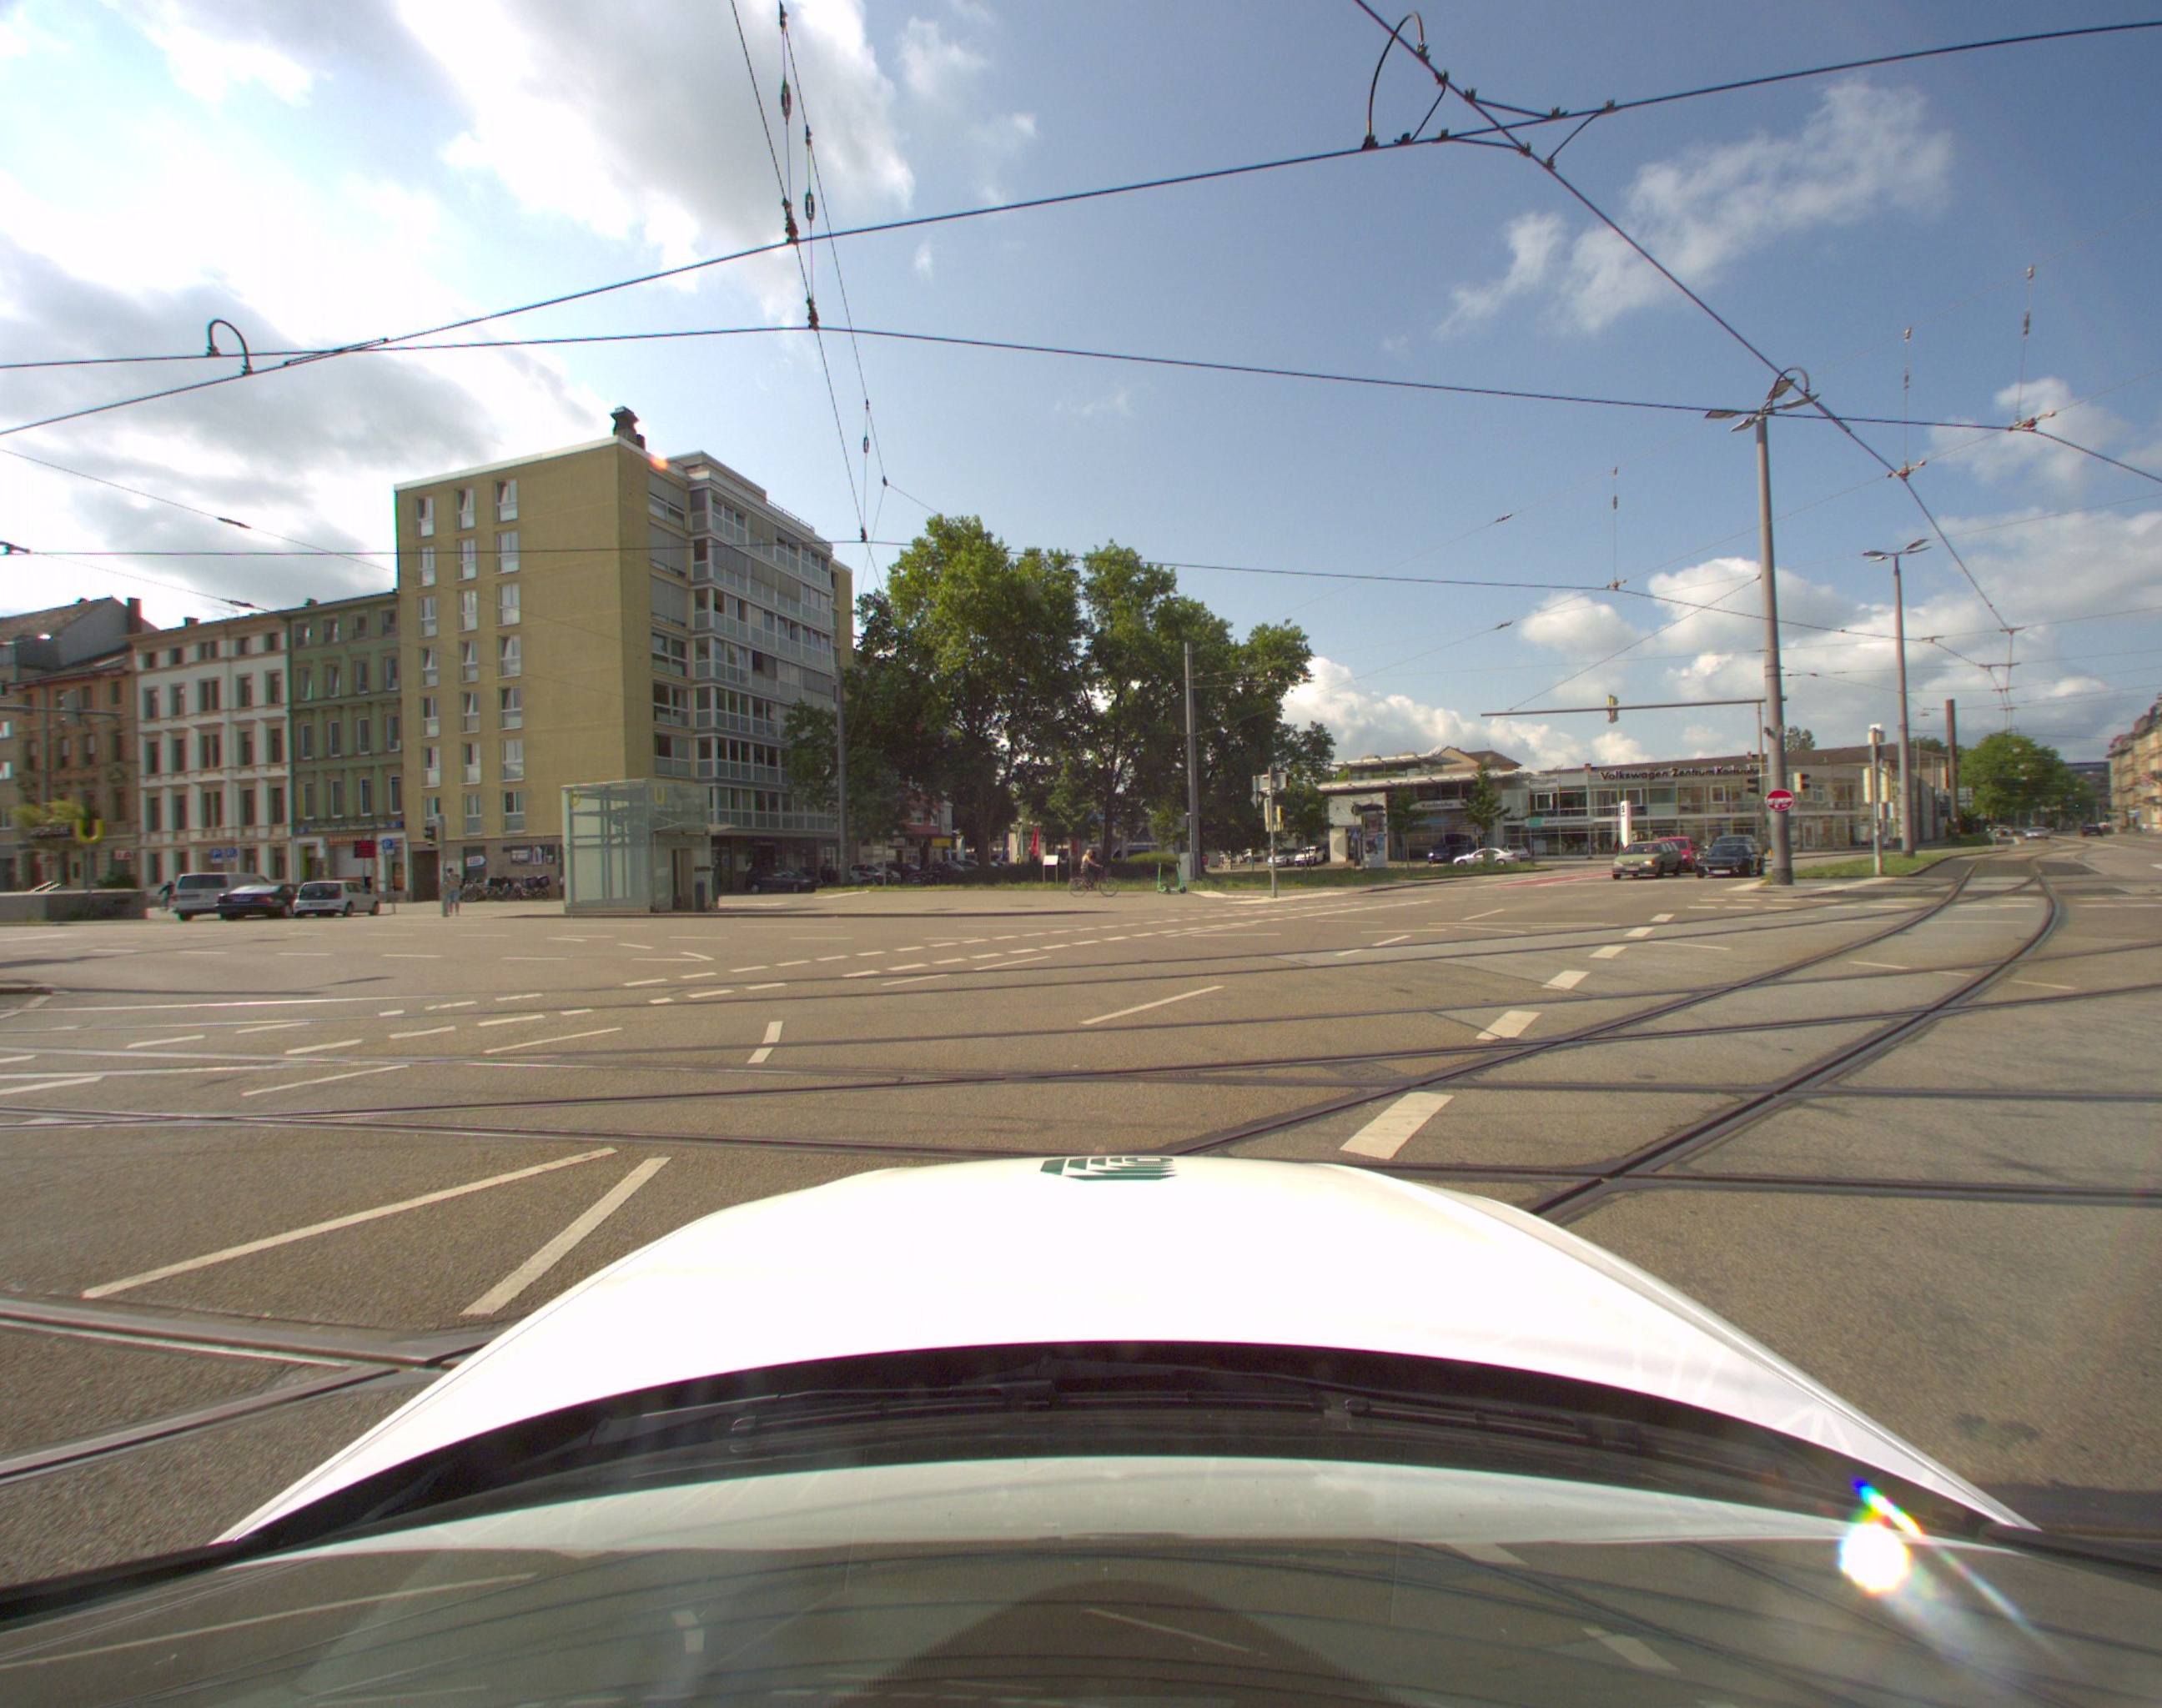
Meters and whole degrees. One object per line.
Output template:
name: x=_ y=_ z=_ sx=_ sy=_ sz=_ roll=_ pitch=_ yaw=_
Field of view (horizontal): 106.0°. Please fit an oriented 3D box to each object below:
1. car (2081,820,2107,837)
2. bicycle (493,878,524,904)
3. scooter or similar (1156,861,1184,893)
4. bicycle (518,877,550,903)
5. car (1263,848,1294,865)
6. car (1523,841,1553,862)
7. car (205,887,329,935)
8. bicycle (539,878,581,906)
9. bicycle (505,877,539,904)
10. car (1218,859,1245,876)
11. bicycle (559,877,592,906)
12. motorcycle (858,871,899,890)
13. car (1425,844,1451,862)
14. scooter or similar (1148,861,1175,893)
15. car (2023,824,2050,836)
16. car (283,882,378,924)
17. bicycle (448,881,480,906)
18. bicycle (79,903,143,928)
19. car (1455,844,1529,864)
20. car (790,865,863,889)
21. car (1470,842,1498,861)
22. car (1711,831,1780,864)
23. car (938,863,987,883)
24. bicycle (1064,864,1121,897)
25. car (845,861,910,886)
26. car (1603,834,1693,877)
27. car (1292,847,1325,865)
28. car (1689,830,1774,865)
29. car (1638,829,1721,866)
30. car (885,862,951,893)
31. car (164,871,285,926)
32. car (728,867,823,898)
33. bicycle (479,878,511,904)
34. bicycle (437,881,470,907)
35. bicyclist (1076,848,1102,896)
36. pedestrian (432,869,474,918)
car: x=131.670 y=-3.316 z=105.865 sx=4.019 sy=2.013 sz=1.977 roll=-2 pitch=0 yaw=-37
bicycle: x=-29.117 y=1.855 z=41.424 sx=1.626 sy=1.201 sz=0.490 roll=2 pitch=2 yaw=22
scooter or similar: x=3.323 y=0.851 z=30.394 sx=0.930 sy=1.157 sz=0.379 roll=0 pitch=2 yaw=-22
bicycle: x=-27.438 y=1.794 z=40.856 sx=1.626 sy=1.201 sz=0.490 roll=2 pitch=2 yaw=22
car: x=19.034 y=0.238 z=78.277 sx=1.975 sy=1.574 sz=4.023 roll=-2 pitch=-1 yaw=26
car: x=37.432 y=-0.221 z=66.656 sx=1.901 sy=1.551 sz=4.025 roll=3 pitch=2 yaw=32
car: x=-33.310 y=2.271 z=33.549 sx=1.893 sy=1.468 sz=5.025 roll=0 pitch=2 yaw=-24
bicycle: x=-25.121 y=1.835 z=39.273 sx=1.872 sy=1.272 sz=0.489 roll=2 pitch=2 yaw=9
bicycle: x=-27.686 y=1.791 z=40.345 sx=1.626 sy=1.201 sz=0.552 roll=2 pitch=2 yaw=22
car: x=15.076 y=1.314 z=81.487 sx=1.666 sy=1.596 sz=4.023 roll=-2 pitch=-1 yaw=25
bicycle: x=-24.651 y=1.830 z=39.711 sx=1.626 sy=1.272 sz=0.490 roll=2 pitch=2 yaw=22
motorcycle: x=-10.254 y=1.344 z=41.258 sx=1.898 sy=0.902 sz=0.600 roll=-1 pitch=1 yaw=-26
car: x=30.660 y=-0.084 z=69.821 sx=1.902 sy=1.445 sz=4.023 roll=-2 pitch=0 yaw=25
scooter or similar: x=3.058 y=0.870 z=30.917 sx=0.926 sy=1.157 sz=0.380 roll=0 pitch=2 yaw=-10
car: x=111.974 y=-2.810 z=95.409 sx=4.020 sy=1.332 sz=1.977 roll=-2 pitch=0 yaw=-40
car: x=-30.378 y=1.942 z=33.102 sx=1.721 sy=1.440 sz=3.486 roll=1 pitch=0 yaw=-23
bicycle: x=-31.973 y=2.053 z=42.199 sx=1.627 sy=1.201 sz=0.490 roll=2 pitch=2 yaw=17
bicycle: x=-43.429 y=2.733 z=36.490 sx=0.508 sy=1.004 sz=1.783 roll=2 pitch=-1 yaw=11
car: x=30.334 y=0.018 z=60.167 sx=4.490 sy=1.354 sz=2.013 roll=-3 pitch=-2 yaw=38
car: x=-15.442 y=1.390 z=49.449 sx=3.956 sy=1.327 sz=1.593 roll=-2 pitch=-1 yaw=17
car: x=33.610 y=-0.241 z=67.901 sx=1.901 sy=1.444 sz=4.025 roll=-1 pitch=1 yaw=29
car: x=33.688 y=-0.337 z=41.252 sx=4.021 sy=1.552 sz=1.976 roll=-2 pitch=0 yaw=-41
car: x=-9.904 y=1.593 z=68.050 sx=3.577 sy=1.594 sz=1.674 roll=-2 pitch=-1 yaw=21
bicycle: x=0.418 y=0.964 z=29.780 sx=1.975 sy=1.127 sz=0.791 roll=-2 pitch=-1 yaw=6
car: x=-13.336 y=1.267 z=53.488 sx=3.535 sy=1.530 sz=2.009 roll=-2 pitch=-1 yaw=17
car: x=21.803 y=0.056 z=31.262 sx=4.020 sy=1.513 sz=1.805 roll=-1 pitch=-2 yaw=-40
car: x=21.464 y=0.167 z=76.739 sx=2.047 sy=1.604 sz=4.025 roll=-2 pitch=0 yaw=30
car: x=23.503 y=-0.229 z=29.380 sx=4.020 sy=1.161 sz=1.607 roll=-1 pitch=-2 yaw=-40
car: x=26.176 y=-0.274 z=35.604 sx=4.020 sy=1.519 sz=1.976 roll=-1 pitch=-2 yaw=-40
car: x=-9.114 y=1.269 z=45.765 sx=1.776 sy=1.419 sz=4.021 roll=3 pitch=2 yaw=20
car: x=-37.080 y=1.849 z=35.427 sx=2.084 sy=2.084 sz=4.857 roll=0 pitch=0 yaw=-27
car: x=-16.282 y=1.492 z=43.447 sx=4.344 sy=1.585 sz=2.008 roll=0 pitch=-1 yaw=16
bicycle: x=-29.481 y=1.856 z=40.978 sx=1.626 sy=1.201 sz=0.490 roll=2 pitch=2 yaw=22
bicycle: x=-32.122 y=2.046 z=41.675 sx=1.627 sy=1.201 sz=0.490 roll=2 pitch=2 yaw=17
bicyclist: x=0.297 y=0.660 z=29.842 sx=0.821 sy=1.745 sz=0.713 roll=-2 pitch=-1 yaw=6
pedestrian: x=-23.199 y=1.450 z=30.091 sx=0.782 sy=1.759 sz=0.993 roll=-2 pitch=0 yaw=-6
